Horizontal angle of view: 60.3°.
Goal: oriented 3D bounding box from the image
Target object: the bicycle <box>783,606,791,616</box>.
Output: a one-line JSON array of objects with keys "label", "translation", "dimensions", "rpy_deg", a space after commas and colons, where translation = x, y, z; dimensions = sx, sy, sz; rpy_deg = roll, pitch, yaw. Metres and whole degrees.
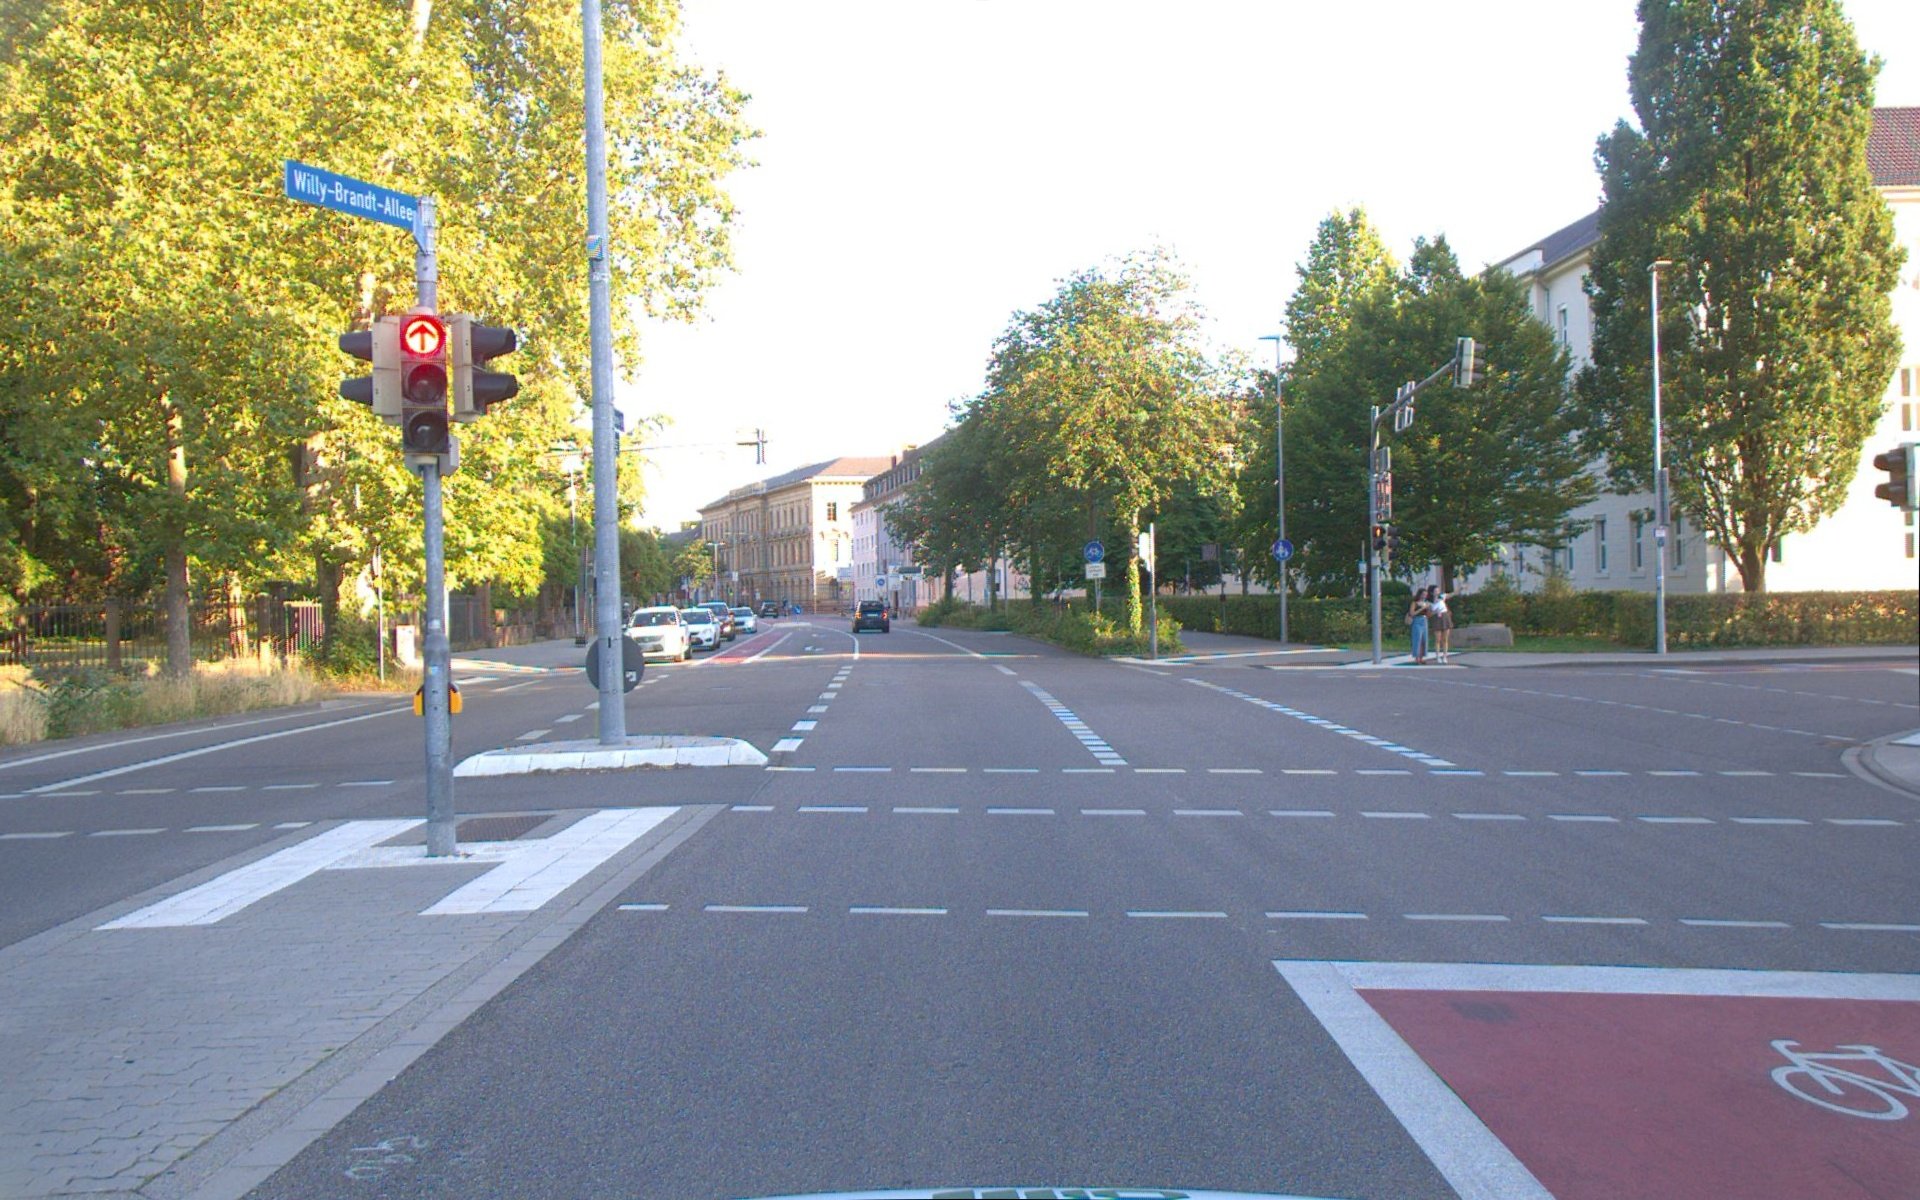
[{"label": "bicycle", "translation": [-18.820, 1.214, 180.182], "dimensions": [0.640, 1.033, 2.192], "rpy_deg": [1, 0, -10]}]

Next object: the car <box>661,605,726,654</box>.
[{"label": "car", "translation": [-9.668, 1.045, 60.292], "dimensions": [1.879, 1.611, 4.669], "rpy_deg": [-3, 0, -5]}]

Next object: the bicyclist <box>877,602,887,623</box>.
[{"label": "bicyclist", "translation": [-5.658, 0.887, 119.851], "dimensions": [0.639, 1.501, 0.939], "rpy_deg": [1, 0, -5]}]

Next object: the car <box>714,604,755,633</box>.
[{"label": "car", "translation": [-12.454, 1.003, 91.579], "dimensions": [1.879, 1.442, 4.765], "rpy_deg": [-3, 0, -5]}]

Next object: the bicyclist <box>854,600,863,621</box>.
[{"label": "bicyclist", "translation": [-7.341, 0.760, 119.423], "dimensions": [0.639, 1.471, 0.879], "rpy_deg": [1, 0, -3]}]

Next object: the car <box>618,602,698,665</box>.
[{"label": "car", "translation": [-9.122, 0.968, 50.293], "dimensions": [1.879, 1.725, 4.422], "rpy_deg": [-3, 0, -5]}]

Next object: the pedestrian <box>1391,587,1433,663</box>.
[{"label": "pedestrian", "translation": [10.115, 0.550, 37.000], "dimensions": [0.667, 1.650, 0.845], "rpy_deg": [-1, 0, -1]}]

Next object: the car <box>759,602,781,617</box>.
[{"label": "car", "translation": [-19.754, 1.017, 172.212], "dimensions": [1.882, 1.442, 4.758], "rpy_deg": [-3, 0, -11]}]

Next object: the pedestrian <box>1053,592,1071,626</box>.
[{"label": "pedestrian", "translation": [5.412, 0.467, 88.033], "dimensions": [0.756, 1.769, 0.805], "rpy_deg": [-1, 0, -10]}]

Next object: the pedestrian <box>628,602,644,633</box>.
[{"label": "pedestrian", "translation": [-17.536, 0.945, 89.529], "dimensions": [0.667, 1.650, 0.688], "rpy_deg": [-1, 0, -2]}]

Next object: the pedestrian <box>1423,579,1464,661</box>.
[{"label": "pedestrian", "translation": [10.819, 0.441, 37.038], "dimensions": [0.667, 1.784, 0.688], "rpy_deg": [-1, 0, -1]}]

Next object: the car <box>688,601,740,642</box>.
[{"label": "car", "translation": [-10.788, 0.923, 72.882], "dimensions": [1.879, 1.653, 4.634], "rpy_deg": [-3, 0, -5]}]

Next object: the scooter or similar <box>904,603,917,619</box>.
[{"label": "scooter or similar", "translation": [-4.380, 0.994, 145.267], "dimensions": [0.619, 1.360, 2.391], "rpy_deg": [-1, 0, -14]}]

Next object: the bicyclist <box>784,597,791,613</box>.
[{"label": "bicyclist", "translation": [-18.812, 0.503, 180.207], "dimensions": [0.640, 1.727, 0.955], "rpy_deg": [1, -1, -11]}]

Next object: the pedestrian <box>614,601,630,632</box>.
[{"label": "pedestrian", "translation": [-18.291, 0.905, 89.555], "dimensions": [0.667, 1.650, 0.688], "rpy_deg": [-1, 0, -1]}]

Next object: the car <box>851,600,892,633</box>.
[{"label": "car", "translation": [-4.300, 0.769, 80.146], "dimensions": [1.831, 1.536, 3.996], "rpy_deg": [-1, 0, -5]}]
